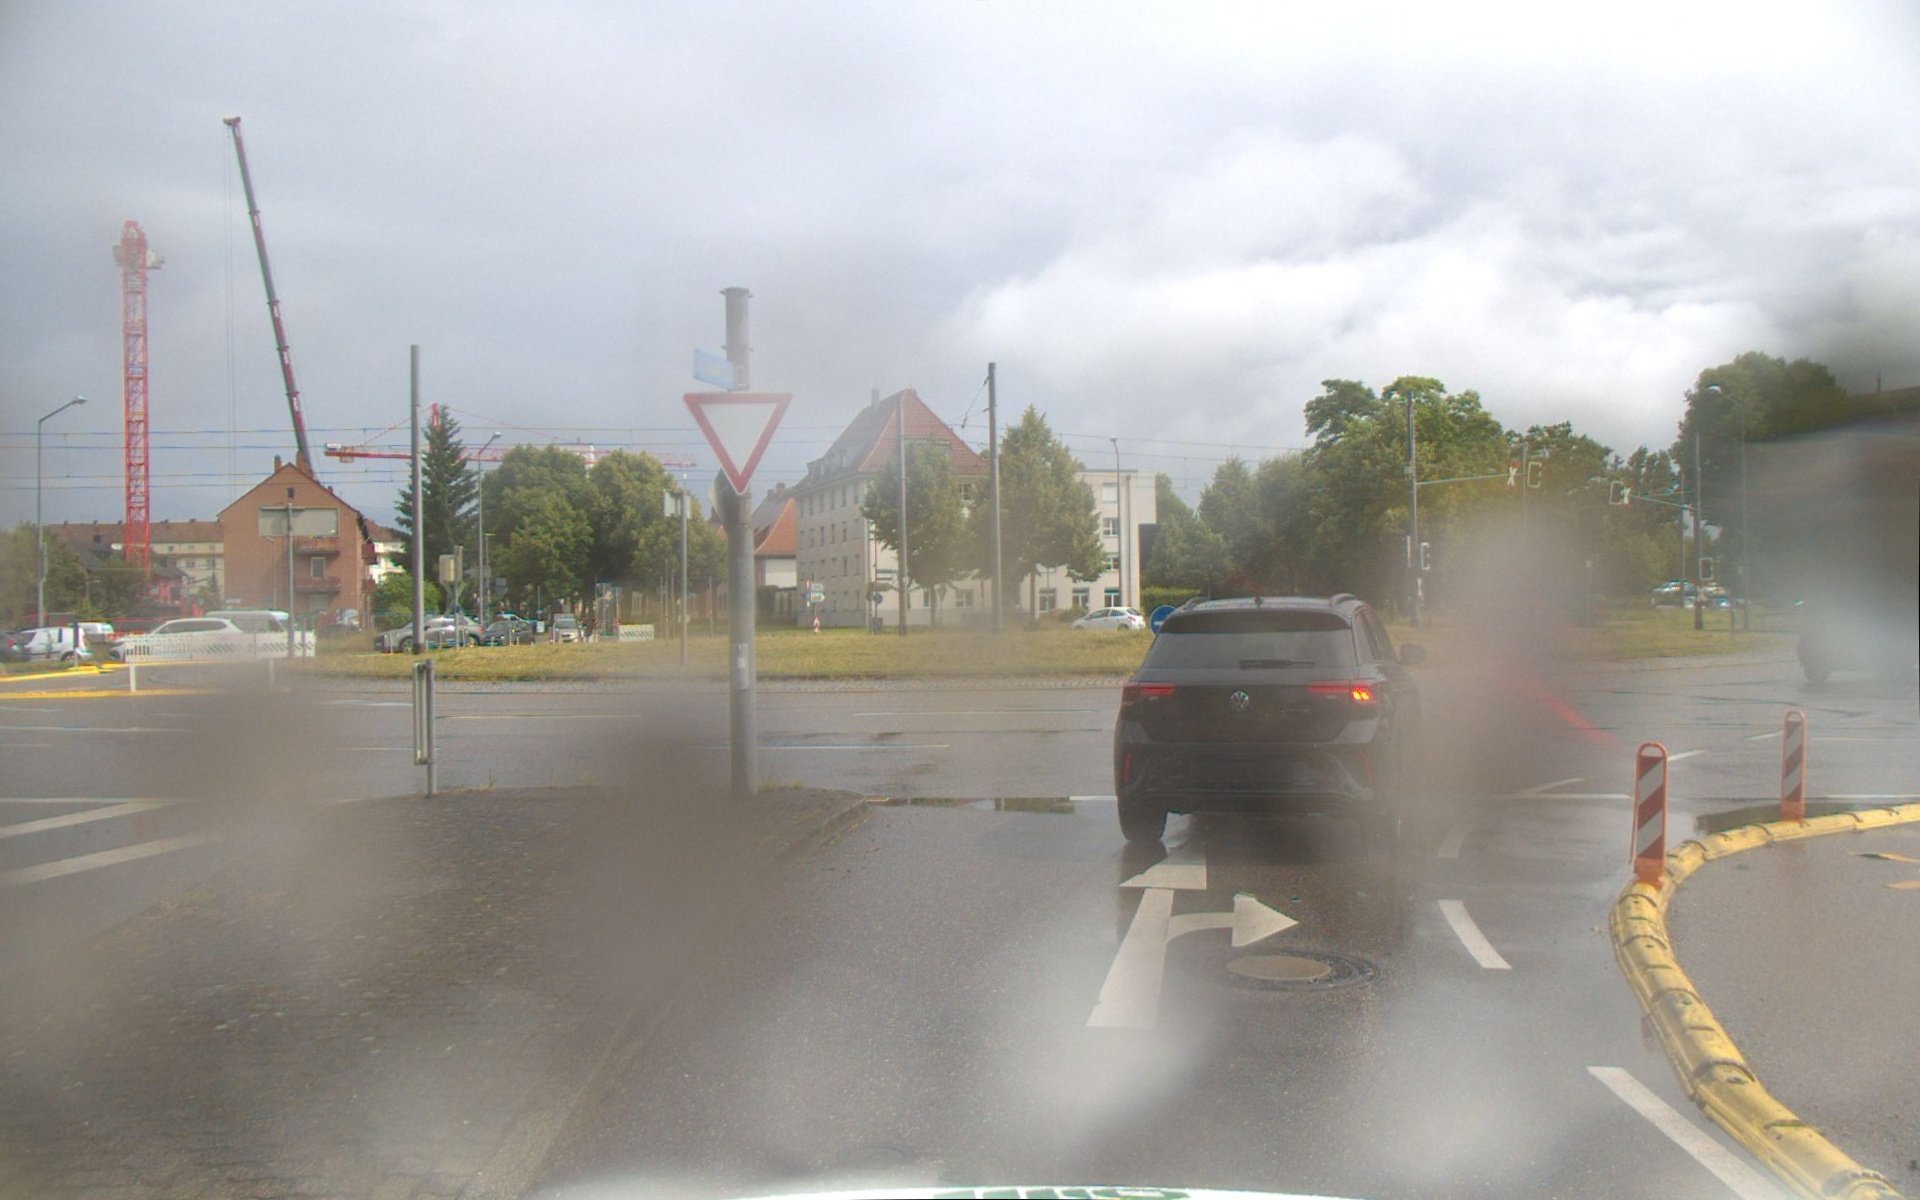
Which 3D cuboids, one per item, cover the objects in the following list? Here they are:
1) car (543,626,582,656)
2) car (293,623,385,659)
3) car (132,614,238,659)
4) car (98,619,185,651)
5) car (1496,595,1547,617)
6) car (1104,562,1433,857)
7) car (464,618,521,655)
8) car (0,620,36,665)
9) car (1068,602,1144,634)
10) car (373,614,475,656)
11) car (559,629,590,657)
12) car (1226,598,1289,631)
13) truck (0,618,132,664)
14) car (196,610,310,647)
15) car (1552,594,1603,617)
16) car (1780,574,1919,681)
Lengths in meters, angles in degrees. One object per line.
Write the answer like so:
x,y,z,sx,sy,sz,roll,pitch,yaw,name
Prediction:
-22.091,2.290,92.066,1.514,1.588,3.497,-1,0,-4,car
-31.637,2.067,84.330,1.958,1.713,3.988,-1,0,33,car
-28.686,1.326,61.227,3.452,1.537,1.485,-1,0,-30,car
-46.041,1.947,93.129,3.903,1.730,1.931,1,-1,4,car
39.575,0.441,116.686,1.613,1.487,3.594,-1,-1,-16,car
2.286,0.623,11.515,1.857,1.646,4.003,1,0,15,car
-21.806,1.699,77.275,1.756,1.613,3.996,-1,0,-5,car
-34.982,1.540,58.402,3.936,1.543,1.789,-1,0,-25,car
7.280,0.904,82.653,3.422,1.479,1.548,-1,0,29,car
-21.671,1.395,66.941,1.547,1.588,3.652,-1,0,44,car
-23.301,2.564,100.022,1.565,1.588,3.543,-1,0,-9,car
19.834,0.970,110.539,2.072,2.093,5.140,-2,0,-15,car
-46.497,2.096,85.907,5.951,2.250,2.399,1,-1,9,truck
-42.663,1.717,99.836,6.112,2.121,2.044,1,-1,8,car
44.209,0.391,118.497,1.617,1.537,3.637,-1,-1,-14,car
14.589,0.371,25.744,3.959,1.488,1.697,-2,1,-38,car
